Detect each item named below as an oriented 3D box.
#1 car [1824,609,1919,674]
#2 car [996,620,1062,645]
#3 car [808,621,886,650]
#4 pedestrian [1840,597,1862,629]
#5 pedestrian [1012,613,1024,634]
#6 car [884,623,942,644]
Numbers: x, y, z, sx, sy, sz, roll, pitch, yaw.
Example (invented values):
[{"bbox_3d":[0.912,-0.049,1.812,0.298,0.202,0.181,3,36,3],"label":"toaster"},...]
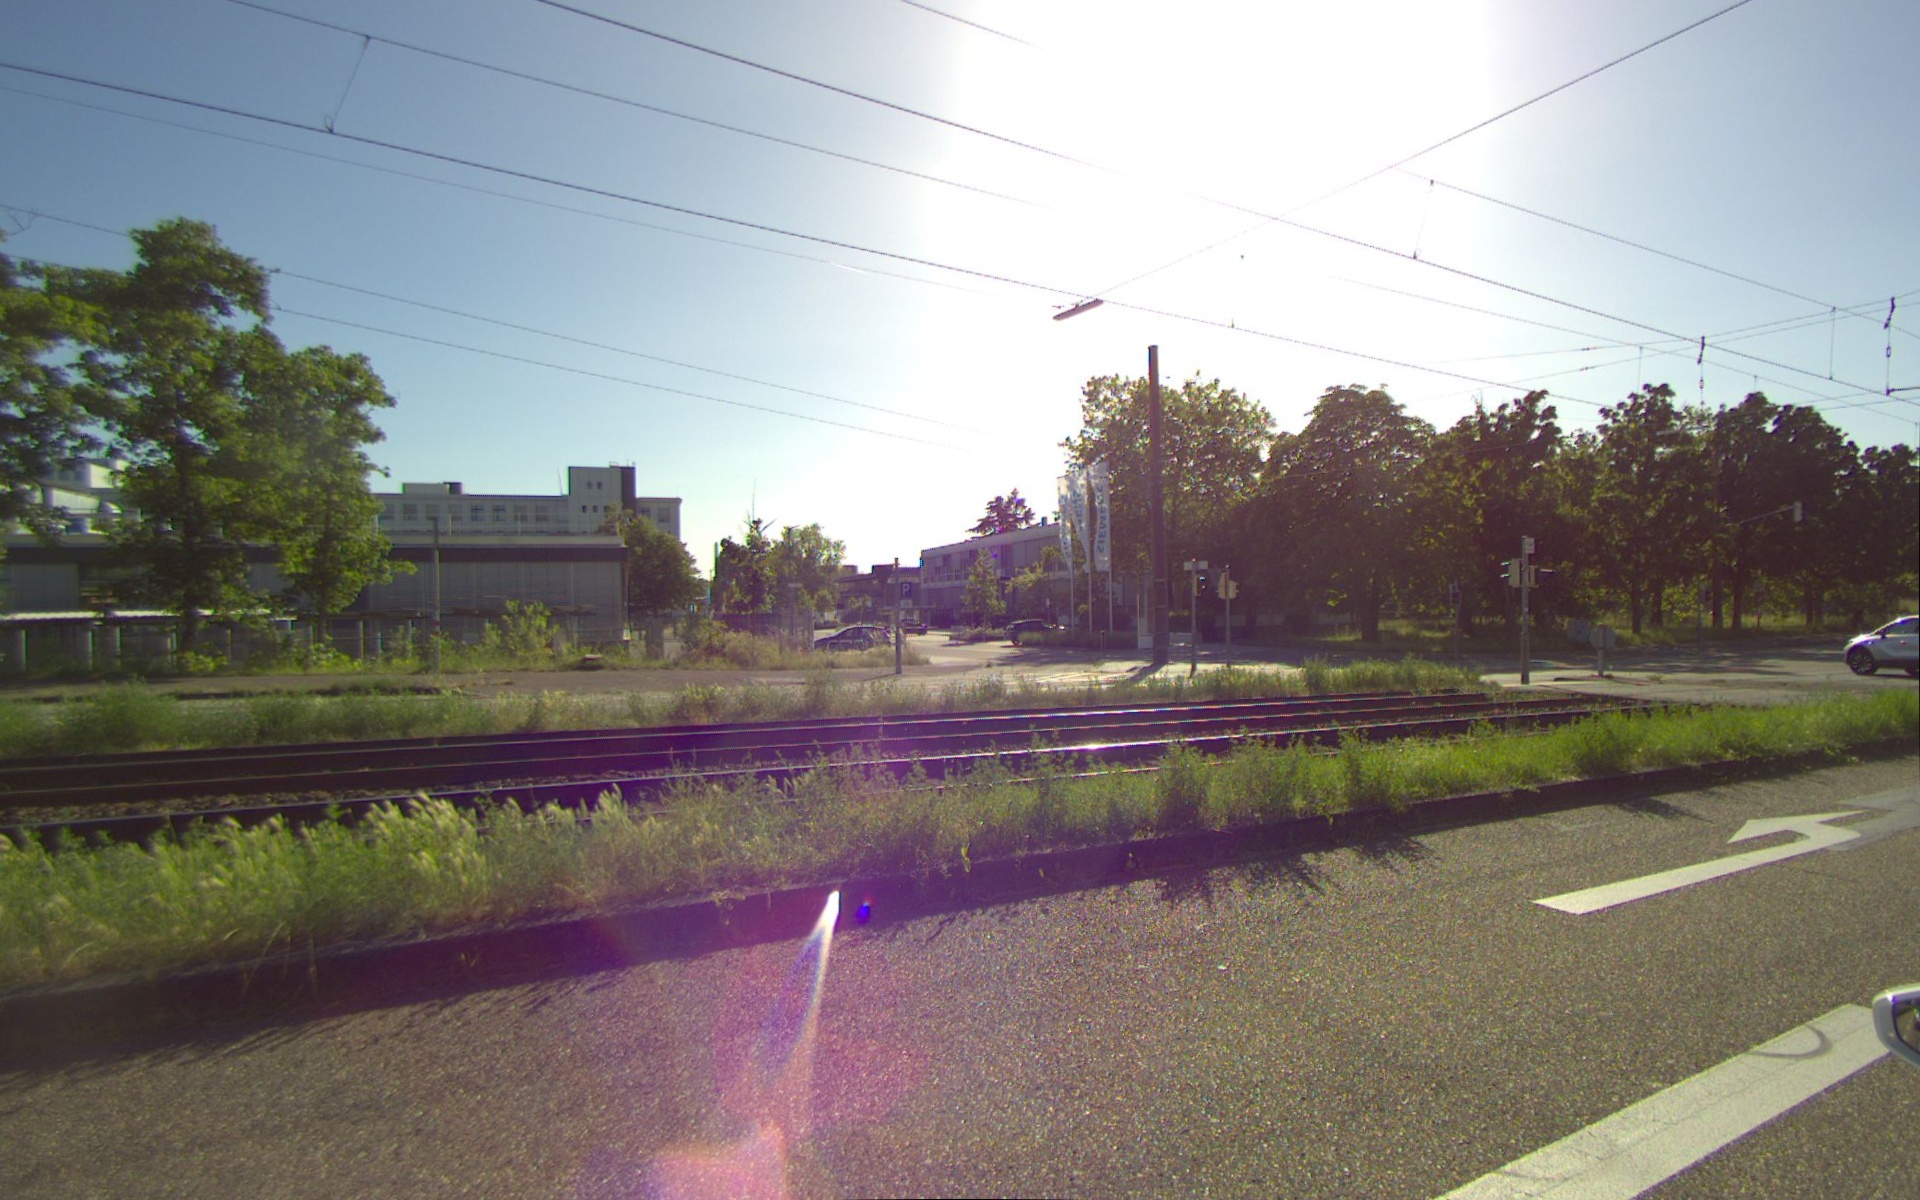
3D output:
[{"bbox_3d":[24.860,1.056,25.735,1.820,1.628,4.255,1,0,1],"label":"car"},{"bbox_3d":[4.306,2.016,62.651,3.818,1.508,1.682,0,0,-32],"label":"car"},{"bbox_3d":[-5.926,1.849,52.655,3.806,1.453,1.687,0,0,-23],"label":"car"},{"bbox_3d":[56.888,0.831,64.105,0.853,2.040,0.835,0,0,-31],"label":"pedestrian"},{"bbox_3d":[4.477,1.823,77.560,0.808,1.549,0.764,0,0,-7],"label":"pedestrian"},{"bbox_3d":[-3.436,2.391,72.740,3.893,1.471,1.688,0,0,-21],"label":"car"}]
